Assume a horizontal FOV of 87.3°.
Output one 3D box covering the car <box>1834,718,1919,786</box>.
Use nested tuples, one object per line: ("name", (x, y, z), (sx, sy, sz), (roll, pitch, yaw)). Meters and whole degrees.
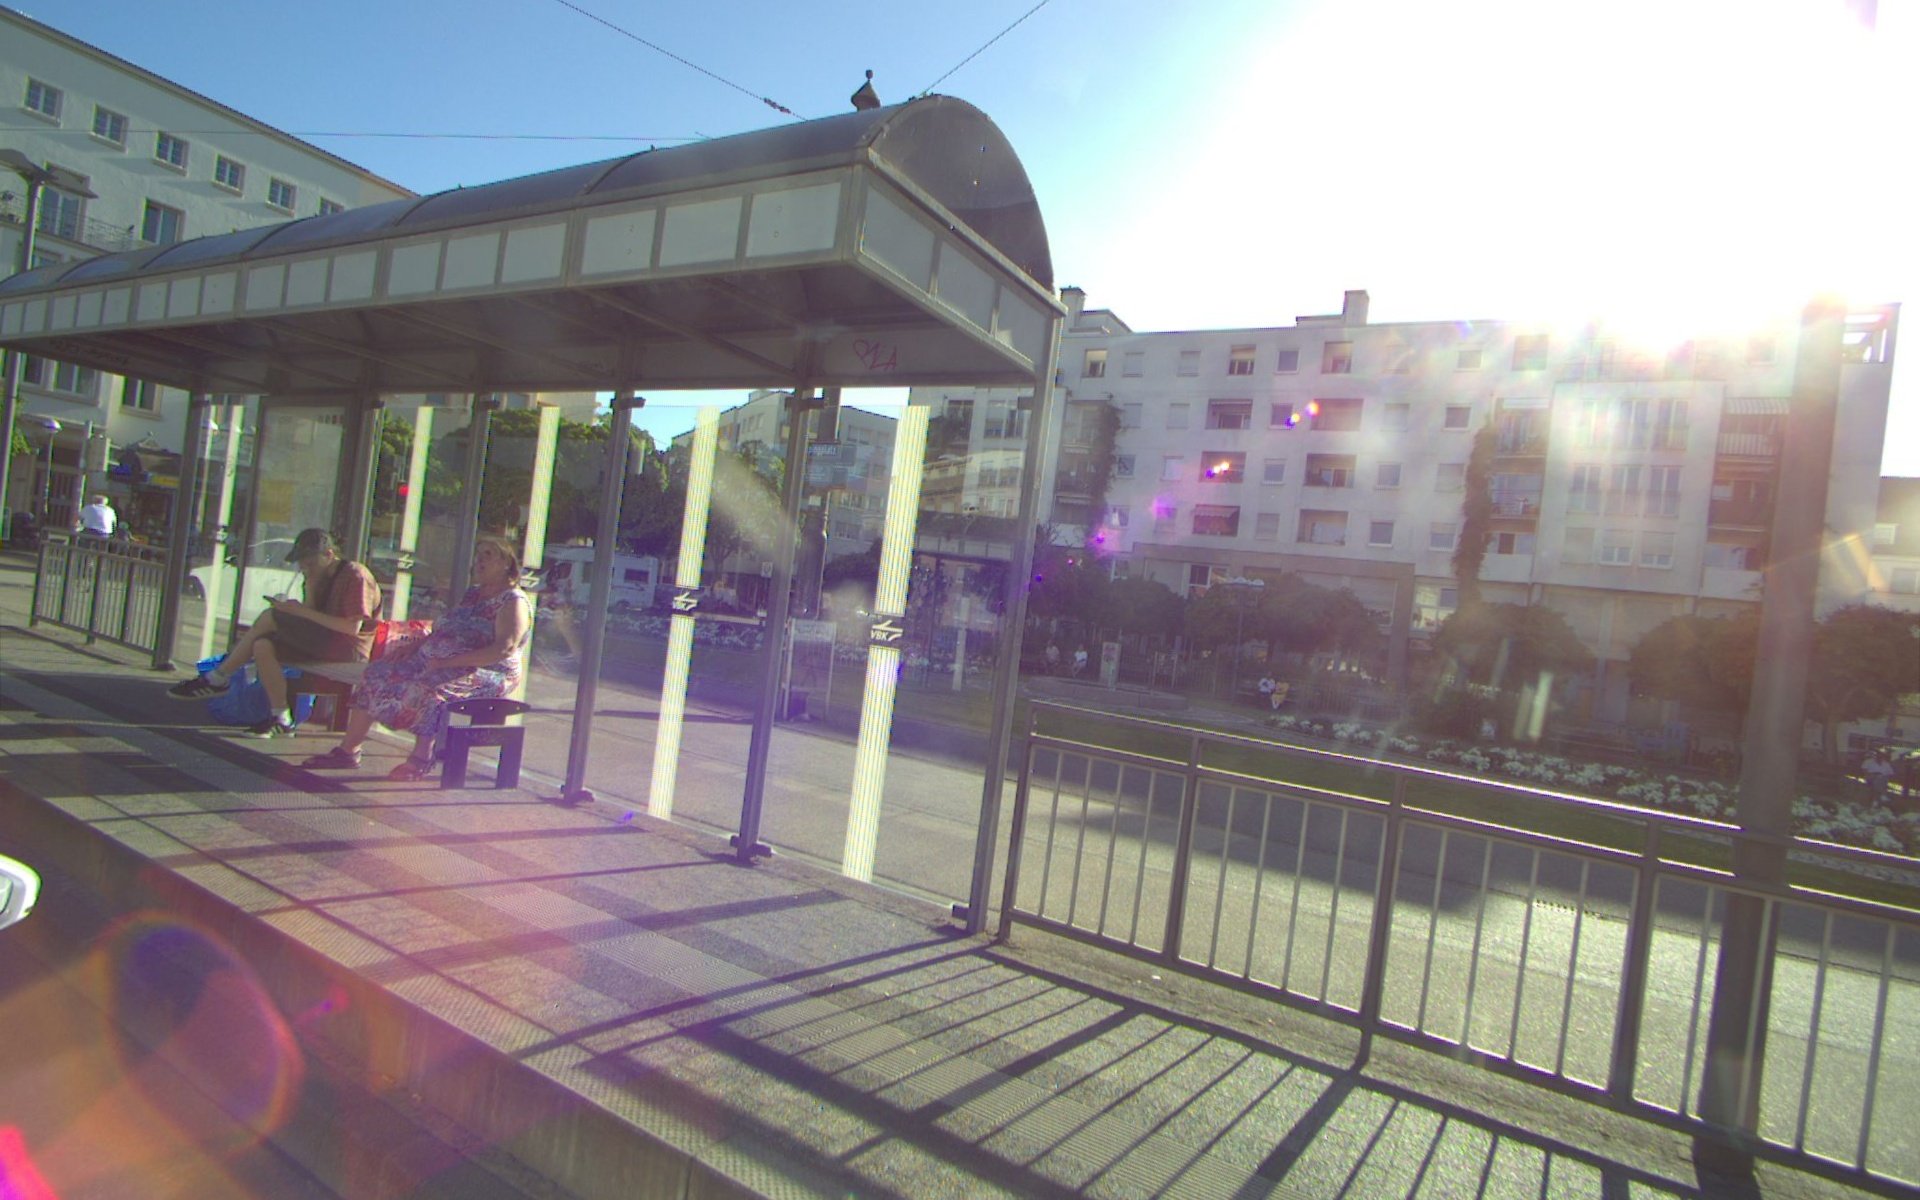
("car", (43.819, 7.097, 45.077), (6.286, 2.585, 2.812), (7, -1, 28))

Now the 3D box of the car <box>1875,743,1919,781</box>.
("car", (39.855, 6.791, 40.670), (3.941, 1.303, 1.993), (7, -1, 38))

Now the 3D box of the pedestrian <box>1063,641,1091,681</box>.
("pedestrian", (4.059, 2.117, 34.859), (0.718, 1.287, 1.042), (7, 0, 11))

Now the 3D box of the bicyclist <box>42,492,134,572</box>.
("bicyclist", (-15.558, -1.210, 17.956), (0.919, 1.239, 0.951), (7, -2, 37))

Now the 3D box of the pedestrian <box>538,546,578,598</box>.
("pedestrian", (-13.535, -0.947, 33.872), (0.651, 1.604, 0.902), (7, 0, 35))

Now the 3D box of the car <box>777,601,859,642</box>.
("car", (-6.727, 1.056, 47.939), (1.964, 1.503, 4.000), (7, -1, 23))

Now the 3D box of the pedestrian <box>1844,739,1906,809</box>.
("pedestrian", (21.597, 4.087, 23.775), (0.923, 1.428, 1.521), (7, -1, 42))

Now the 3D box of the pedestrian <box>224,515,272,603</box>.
("pedestrian", (-14.975, -0.858, 21.161), (0.520, 1.765, 0.557), (6, -1, 42))

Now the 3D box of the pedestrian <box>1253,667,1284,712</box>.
("pedestrian", (9.602, 2.771, 31.322), (0.718, 1.287, 0.745), (7, 0, 11))

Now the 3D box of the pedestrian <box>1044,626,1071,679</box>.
("pedestrian", (3.409, 1.819, 35.128), (0.661, 1.745, 1.028), (7, 0, 11))

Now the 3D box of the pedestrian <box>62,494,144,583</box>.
("pedestrian", (-20.026, -1.426, 23.516), (1.110, 1.900, 0.983), (6, -1, 29))

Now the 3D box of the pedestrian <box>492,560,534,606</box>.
("pedestrian", (-13.994, -0.525, 31.507), (0.595, 1.295, 0.901), (7, 0, 37))

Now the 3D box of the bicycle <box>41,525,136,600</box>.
("bicycle", (-15.513, -0.680, 17.881), (2.288, 1.073, 0.719), (7, -2, 37))

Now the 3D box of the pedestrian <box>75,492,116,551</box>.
("pedestrian", (-29.434, -2.680, 34.253), (0.667, 1.861, 0.785), (7, 0, 35))

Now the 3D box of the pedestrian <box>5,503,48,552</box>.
("pedestrian", (-28.055, -2.176, 30.249), (0.736, 1.332, 0.622), (7, 0, -35))

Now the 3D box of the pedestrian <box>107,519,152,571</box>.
("pedestrian", (-25.415, -1.690, 30.792), (0.742, 1.427, 0.731), (11, 1, 32))

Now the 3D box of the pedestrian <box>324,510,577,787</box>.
("pedestrian", (-2.740, 0.280, 5.469), (0.613, 1.348, 0.861), (6, -4, 31))

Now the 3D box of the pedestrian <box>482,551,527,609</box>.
("pedestrian", (-14.487, -0.643, 32.019), (0.684, 1.705, 0.902), (7, 0, 35))

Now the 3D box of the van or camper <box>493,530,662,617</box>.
("van or camper", (-16.507, -1.062, 43.835), (2.340, 2.873, 6.411), (7, -1, 35))

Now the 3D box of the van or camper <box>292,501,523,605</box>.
("van or camper", (-20.425, -1.636, 37.688), (2.331, 2.780, 7.132), (9, 0, 32))

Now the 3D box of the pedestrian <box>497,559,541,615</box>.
("pedestrian", (-13.595, -0.403, 31.021), (0.651, 1.604, 0.902), (7, 0, 35))

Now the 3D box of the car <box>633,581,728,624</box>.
("car", (-13.794, 0.117, 49.737), (1.974, 1.529, 3.982), (6, -3, 43))

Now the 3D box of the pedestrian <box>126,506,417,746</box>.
("pedestrian", (-4.079, 0.175, 6.002), (0.908, 1.238, 1.001), (6, -4, 32))

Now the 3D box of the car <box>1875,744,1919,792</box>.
("car", (36.441, 6.415, 36.911), (3.941, 1.535, 1.993), (7, -1, 38))

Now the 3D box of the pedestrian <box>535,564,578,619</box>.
("pedestrian", (-12.797, -0.260, 31.890), (0.651, 1.604, 0.902), (7, 0, 35))

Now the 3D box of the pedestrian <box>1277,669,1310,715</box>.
("pedestrian", (10.309, 2.833, 31.138), (0.718, 1.287, 0.745), (7, 0, 11))

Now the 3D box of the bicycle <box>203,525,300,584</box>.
("bicycle", (-23.544, -1.495, 33.485), (0.714, 1.548, 2.391), (7, -3, 31))

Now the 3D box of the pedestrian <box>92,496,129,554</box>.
("pedestrian", (-28.954, -2.541, 34.304), (0.649, 1.861, 0.653), (7, 0, 35))

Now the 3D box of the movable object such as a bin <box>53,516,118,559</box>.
("movable object such as a bin", (-28.121, -2.009, 32.367), (1.197, 1.167, 1.200), (7, -1, 32))
